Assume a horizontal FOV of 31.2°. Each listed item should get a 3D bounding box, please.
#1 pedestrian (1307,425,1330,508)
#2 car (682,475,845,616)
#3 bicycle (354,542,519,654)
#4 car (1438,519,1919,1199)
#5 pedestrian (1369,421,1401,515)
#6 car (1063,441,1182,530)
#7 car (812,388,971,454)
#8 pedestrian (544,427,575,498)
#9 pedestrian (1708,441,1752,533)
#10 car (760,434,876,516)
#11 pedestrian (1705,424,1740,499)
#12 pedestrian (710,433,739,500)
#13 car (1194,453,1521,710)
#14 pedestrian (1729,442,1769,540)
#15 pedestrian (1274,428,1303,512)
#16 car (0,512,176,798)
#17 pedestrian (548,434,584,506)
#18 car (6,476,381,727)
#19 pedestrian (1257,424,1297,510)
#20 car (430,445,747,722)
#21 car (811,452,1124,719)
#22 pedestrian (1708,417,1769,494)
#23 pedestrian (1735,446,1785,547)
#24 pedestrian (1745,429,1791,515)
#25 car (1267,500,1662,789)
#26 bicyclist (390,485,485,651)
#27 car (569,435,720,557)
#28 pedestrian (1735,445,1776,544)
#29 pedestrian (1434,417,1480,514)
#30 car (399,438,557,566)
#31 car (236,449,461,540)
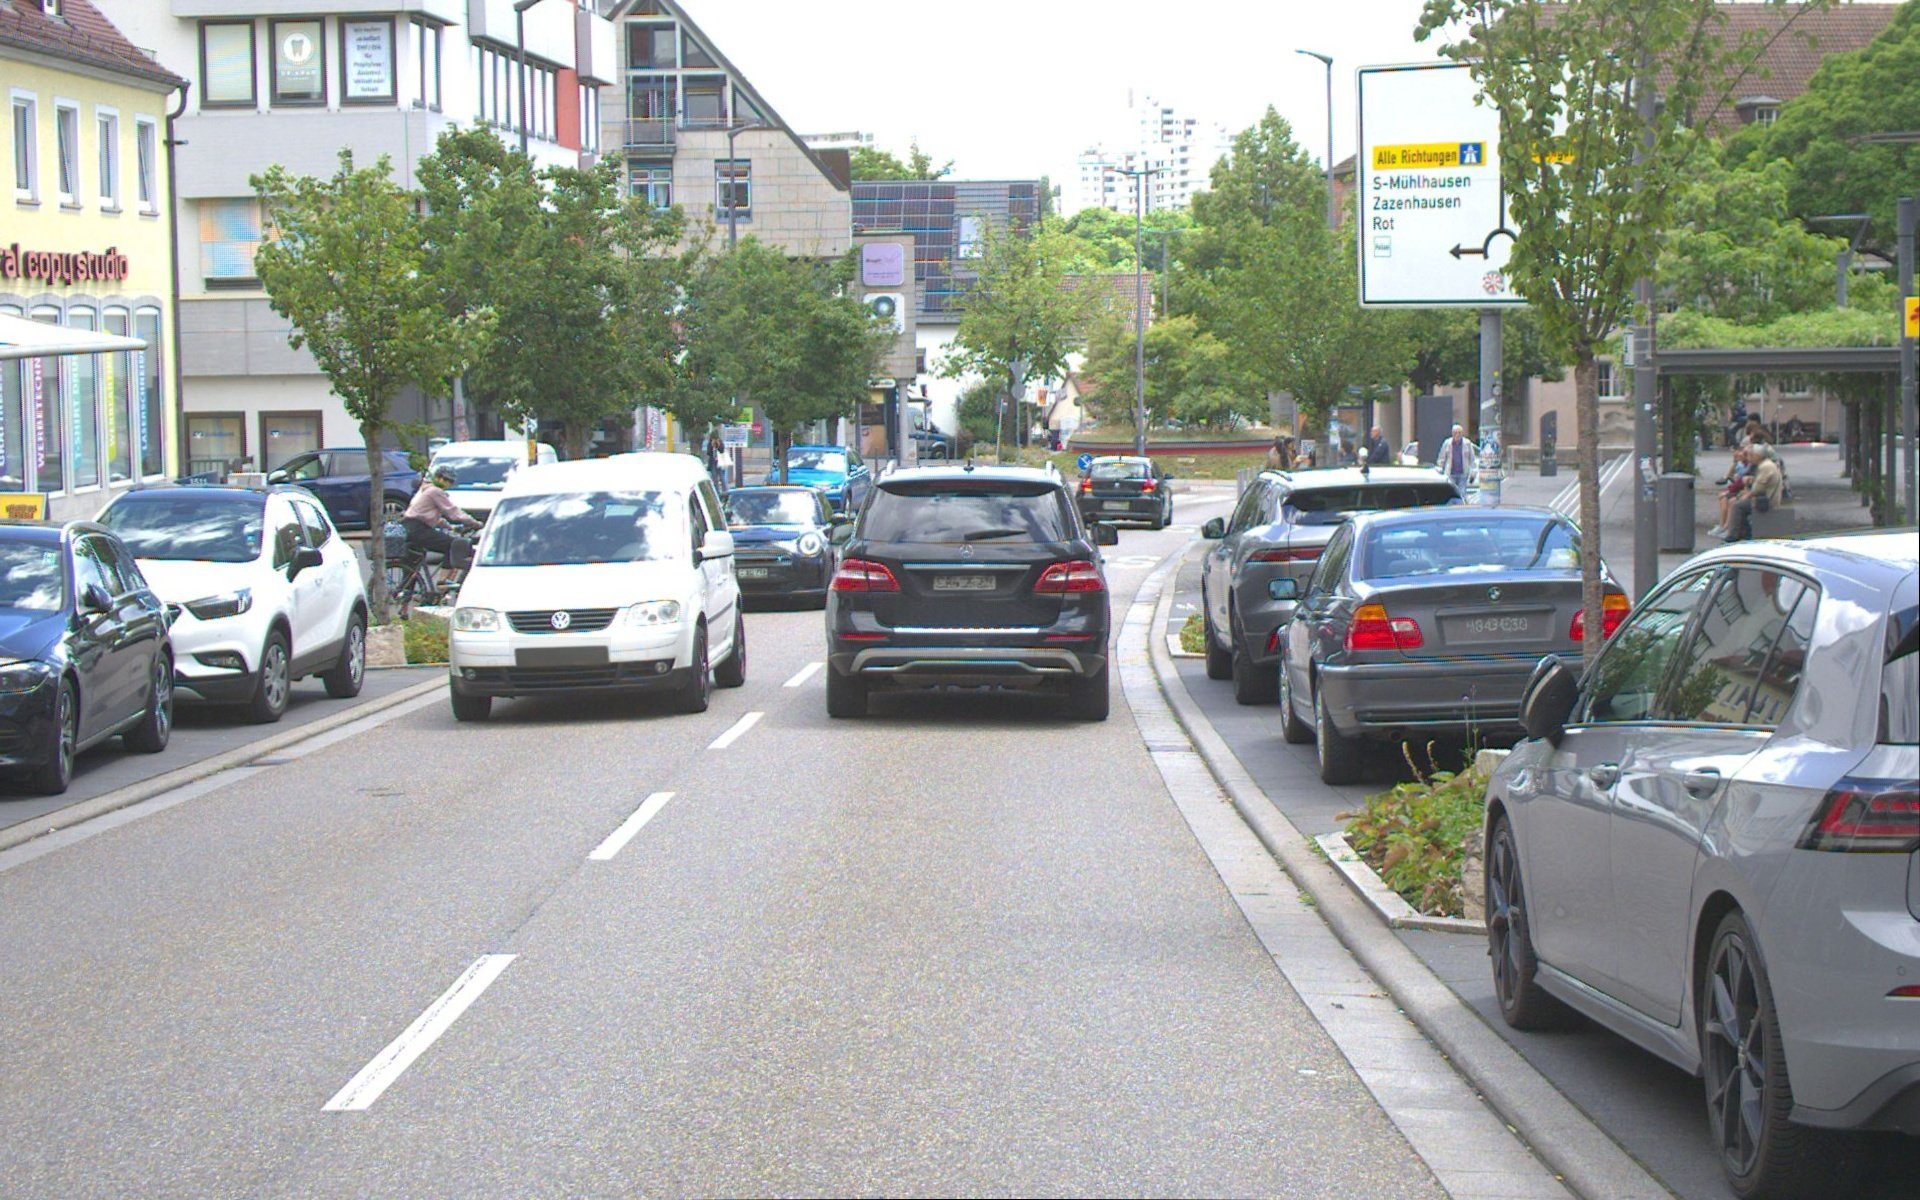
[{"bbox_3d":[6.768,-2.524,64.906,0.393,1.560,0.352,-1,3,8],"label":"pedestrian"},{"bbox_3d":[-2.285,-0.681,40.718,1.606,1.383,3.630,-2,4,1],"label":"car"},{"bbox_3d":[-5.457,-0.031,35.906,1.649,1.083,0.413,-4,3,-35],"label":"bicycle"},{"bbox_3d":[2.446,0.524,8.631,1.754,1.436,4.090,-2,1,-2],"label":"car"},{"bbox_3d":[7.675,-2.394,62.092,0.511,1.674,0.576,-1,3,5],"label":"pedestrian"},{"bbox_3d":[3.189,-2.293,68.244,2.052,1.582,4.374,2,3,0],"label":"car"},{"bbox_3d":[-2.877,-7.507,144.422,6.283,2.551,2.207,1,0,-16],"label":"car"},{"bbox_3d":[-8.893,-3.059,76.413,0.510,1.561,0.586,-2,3,6],"label":"pedestrian"},{"bbox_3d":[10.900,-1.600,48.662,0.568,1.257,0.541,-1,5,9],"label":"pedestrian"},{"bbox_3d":[-2.977,-2.680,73.066,1.695,1.594,4.331,3,3,7],"label":"car"},{"bbox_3d":[13.690,-2.489,61.725,0.568,1.319,0.545,1,3,15],"label":"pedestrian"},{"bbox_3d":[-5.691,-3.226,83.048,0.587,1.582,0.638,1,3,6],"label":"pedestrian"},{"bbox_3d":[2.853,-0.217,25.612,1.928,1.718,4.574,-1,2,1],"label":"car"},{"bbox_3d":[10.982,-1.521,47.844,0.498,1.316,0.525,-1,5,10],"label":"pedestrian"},{"bbox_3d":[6.187,-2.456,64.754,0.500,1.560,0.498,-1,3,6],"label":"pedestrian"},{"bbox_3d":[-5.802,0.226,19.981,1.839,1.446,4.516,1,2,-5],"label":"car"},{"bbox_3d":[-8.659,-2.859,75.552,0.584,1.561,0.645,-3,3,-21],"label":"pedestrian"},{"bbox_3d":[-5.486,-0.065,25.094,1.665,1.640,4.134,1,2,2],"label":"car"},{"bbox_3d":[5.754,-2.412,62.364,0.513,1.543,0.486,0,3,32],"label":"pedestrian"},{"bbox_3d":[-2.642,-0.171,25.346,1.746,1.796,4.212,-3,2,1],"label":"car"},{"bbox_3d":[-0.027,-0.136,24.577,2.027,1.721,4.434,0,1,-2],"label":"car"},{"bbox_3d":[13.007,-2.418,57.432,0.770,1.264,0.675,2,4,37],"label":"pedestrian"},{"bbox_3d":[10.843,-1.403,46.601,0.616,1.316,0.586,-1,5,8],"label":"pedestrian"},{"bbox_3d":[12.542,-1.990,53.376,0.624,1.303,0.546,-1,3,9],"label":"pedestrian"},{"bbox_3d":[2.698,0.189,19.245,1.681,1.412,4.371,-1,1,2],"label":"car"},{"bbox_3d":[-5.459,-0.346,35.942,0.775,1.689,0.510,-4,3,-34],"label":"bicyclist"},{"bbox_3d":[-4.525,-1.549,49.797,1.656,1.666,4.351,1,3,2],"label":"car"},{"bbox_3d":[10.928,-1.448,47.241,0.495,1.316,0.575,-1,5,9],"label":"pedestrian"},{"bbox_3d":[8.731,-2.366,60.380,0.685,1.676,0.714,0,3,16],"label":"pedestrian"},{"bbox_3d":[-7.272,-1.526,52.219,1.756,1.807,4.477,1,3,0],"label":"car"},{"bbox_3d":[-10.610,-1.844,59.820,3.627,1.553,1.669,0,3,-1],"label":"car"}]
